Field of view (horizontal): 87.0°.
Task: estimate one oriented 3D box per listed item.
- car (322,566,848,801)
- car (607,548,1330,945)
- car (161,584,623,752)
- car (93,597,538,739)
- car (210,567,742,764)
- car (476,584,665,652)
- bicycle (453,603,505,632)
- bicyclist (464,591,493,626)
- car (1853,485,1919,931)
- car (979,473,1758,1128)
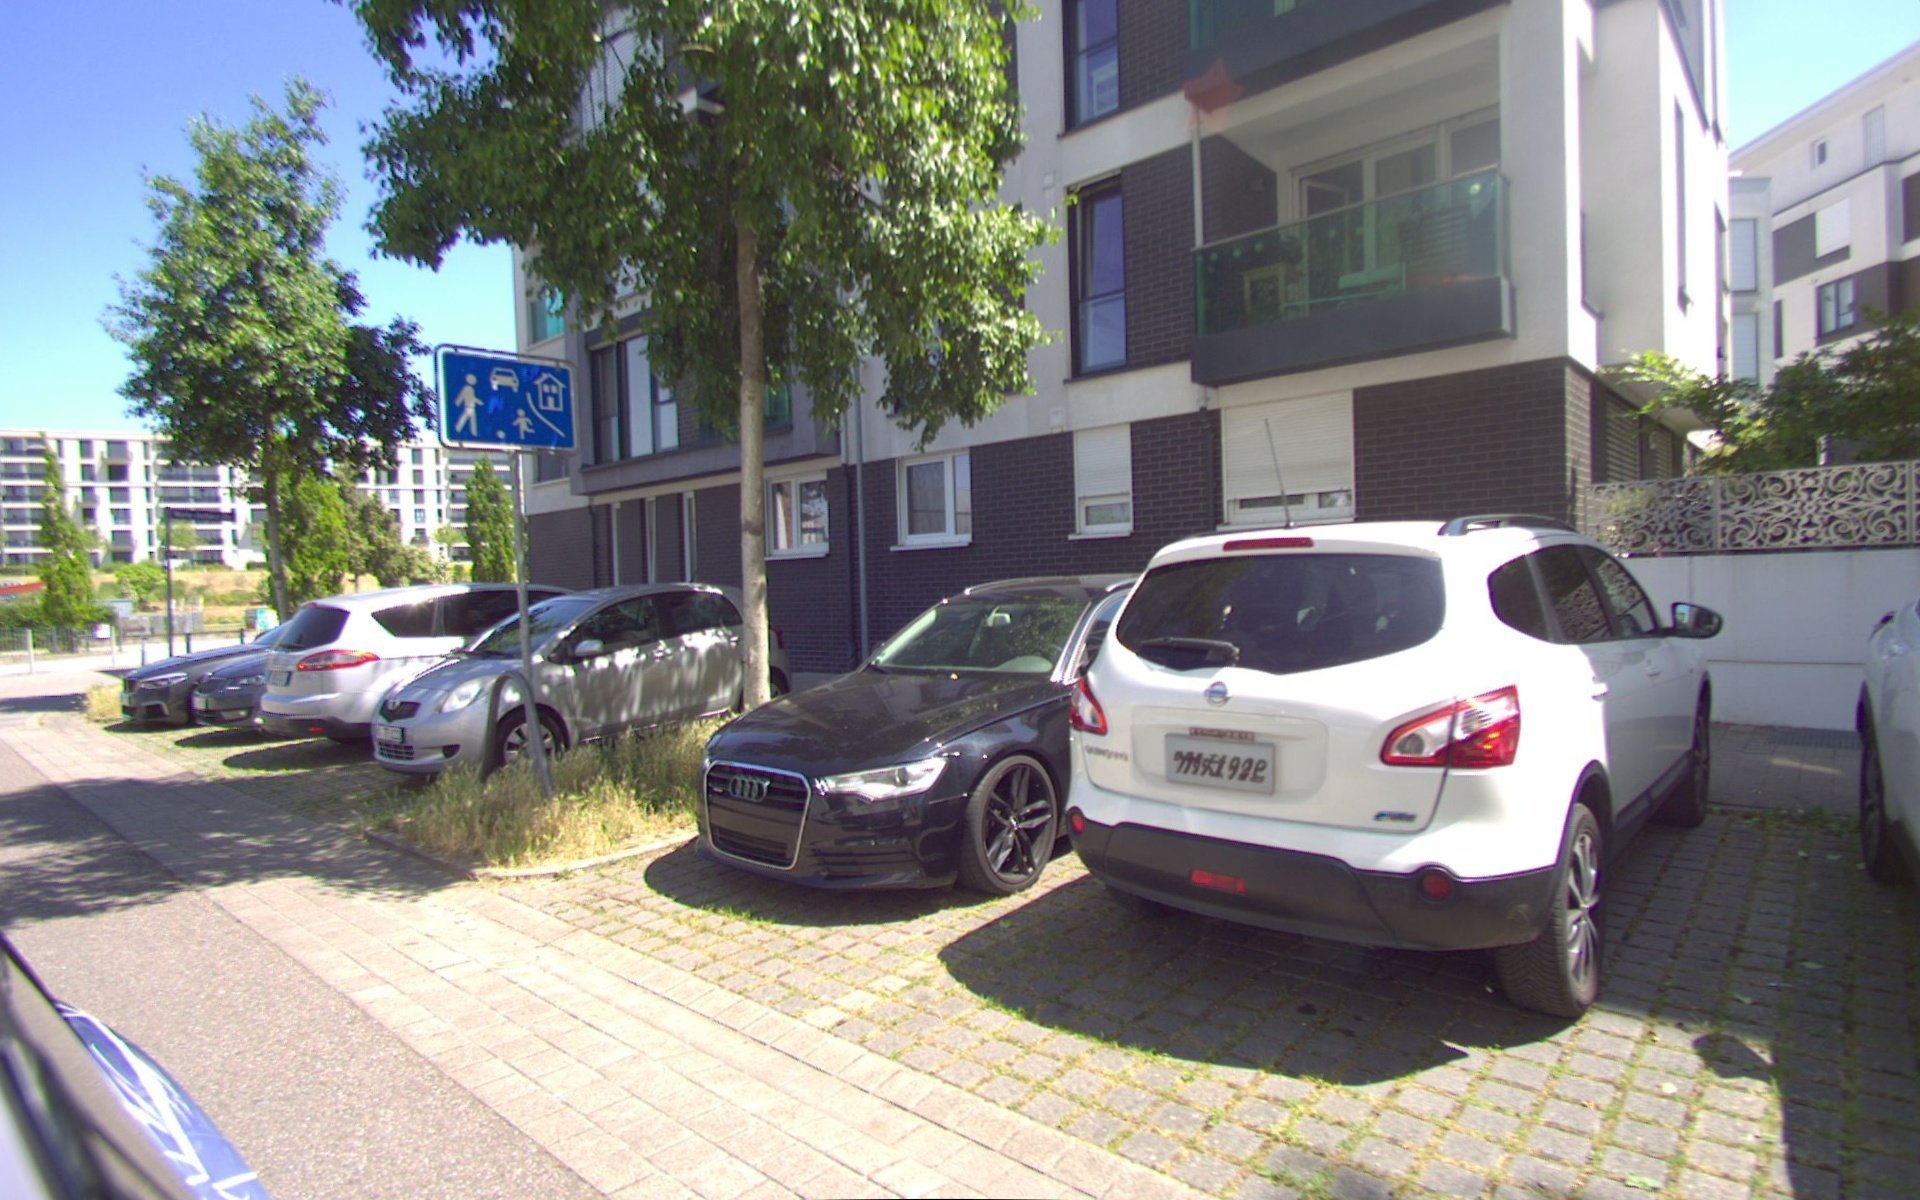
[{"bbox_3d":[-3.216,0.563,9.446,1.820,1.542,4.211,-2,2,38],"label":"car"},{"bbox_3d":[0.481,0.507,6.413,1.829,1.467,4.800,-1,3,42],"label":"car"},{"bbox_3d":[-6.972,0.690,12.948,1.826,1.459,4.772,-1,4,39],"label":"car"},{"bbox_3d":[-9.017,0.810,14.621,1.926,1.496,5.049,-1,2,39],"label":"car"},{"bbox_3d":[-5.115,0.529,11.405,2.040,1.644,4.979,-2,1,39],"label":"car"},{"bbox_3d":[-10.152,0.430,26.650,1.776,1.531,4.344,-4,0,36],"label":"car"},{"bbox_3d":[-21.196,0.762,44.627,1.887,1.126,0.799,-4,1,-45],"label":"bicycle"},{"bbox_3d":[-21.213,0.377,44.614,0.870,1.466,0.860,-3,1,-45],"label":"bicyclist"},{"bbox_3d":[3.928,0.408,2.650,1.963,1.605,4.518,-1,3,37],"label":"car"},{"bbox_3d":[2.161,0.400,4.624,1.950,1.641,3.937,-1,3,44],"label":"car"}]
